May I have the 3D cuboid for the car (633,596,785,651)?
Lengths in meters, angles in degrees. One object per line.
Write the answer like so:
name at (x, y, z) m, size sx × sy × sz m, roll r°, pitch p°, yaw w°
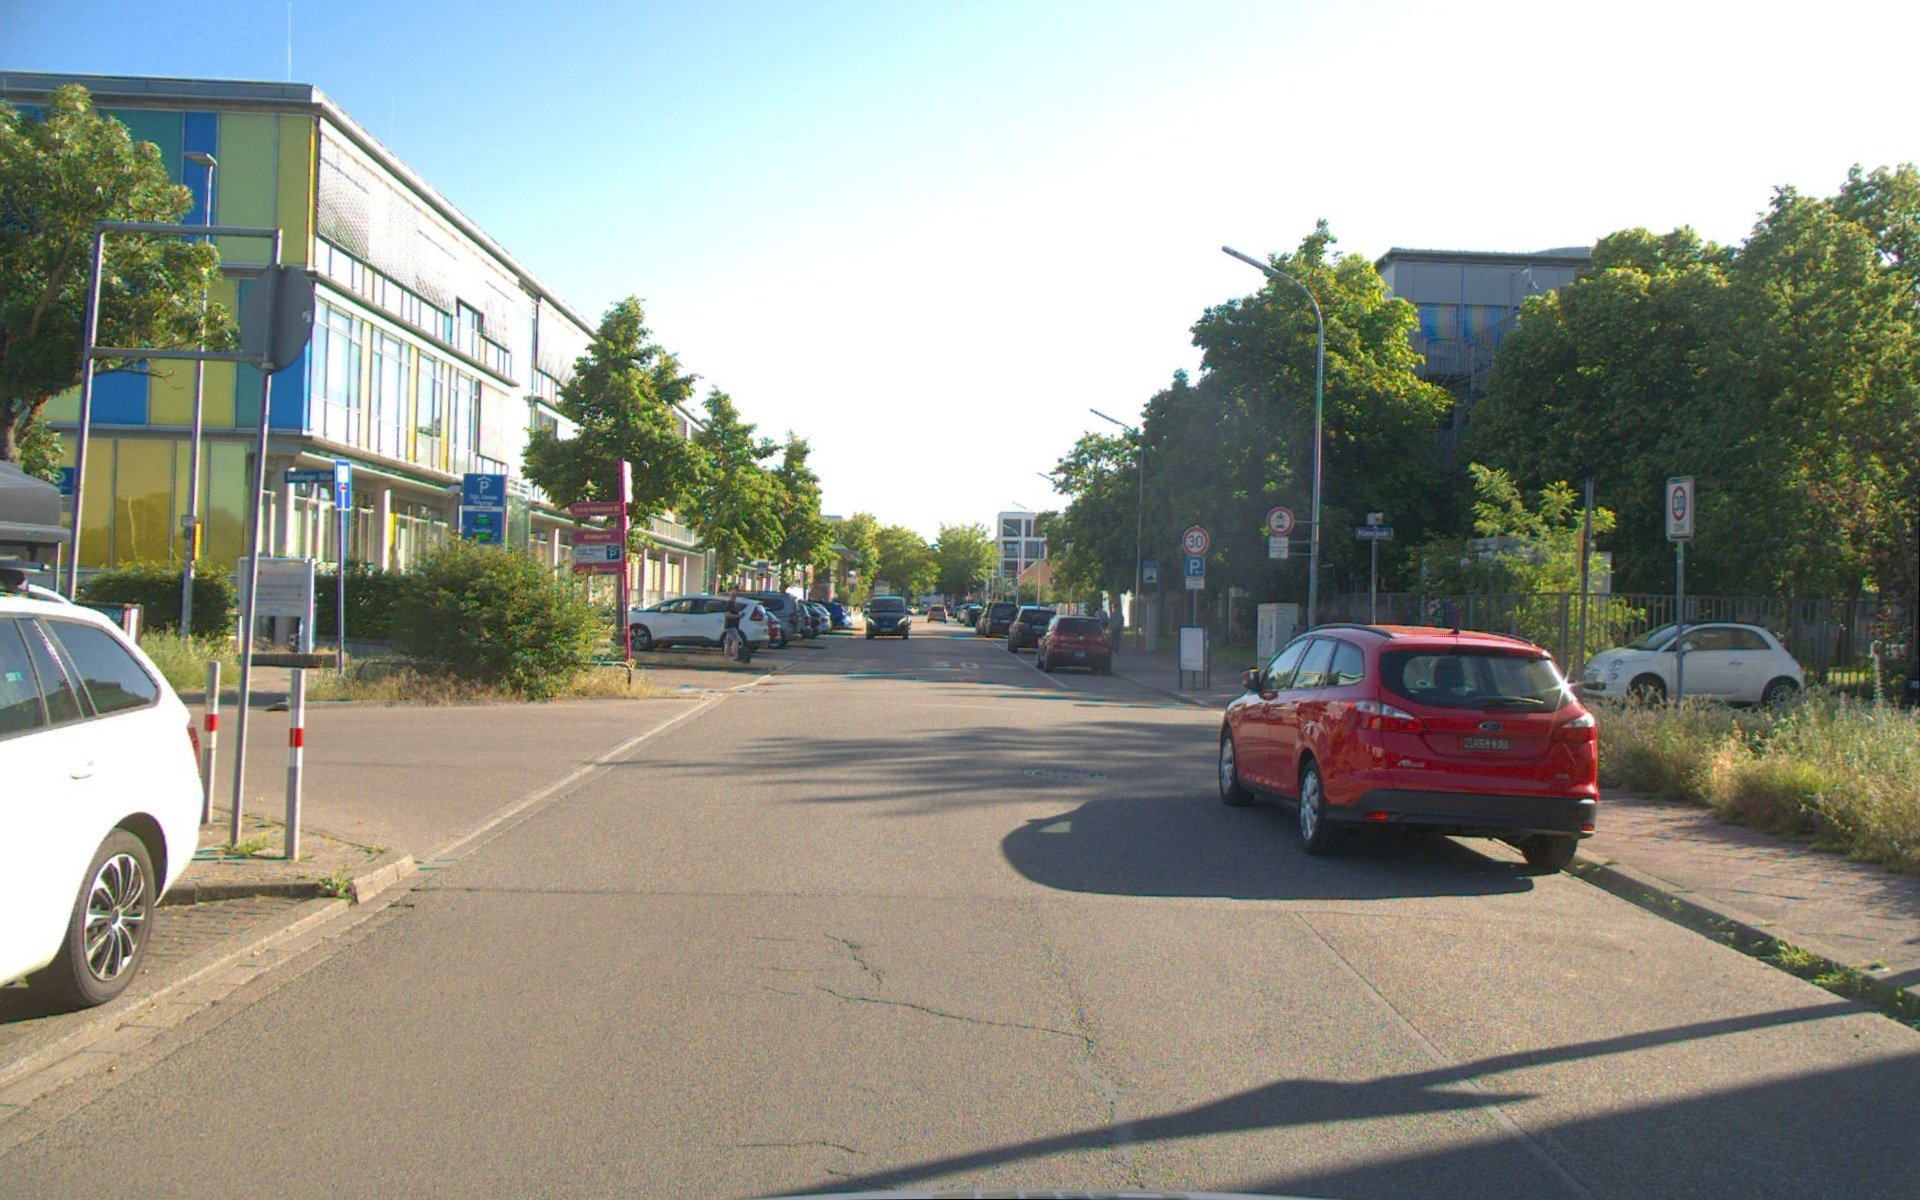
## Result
car at (-7.626, 0.727, 50.578) m, size 4.344 × 1.527 × 1.827 m, roll 2°, pitch -1°, yaw -1°

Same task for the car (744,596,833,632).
car at (-8.149, 0.672, 78.976) m, size 4.132 × 1.487 × 1.870 m, roll 3°, pitch 0°, yaw -5°

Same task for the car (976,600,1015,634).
car at (1.949, 0.921, 91.554) m, size 1.953 × 1.855 × 4.197 m, roll 0°, pitch 0°, yaw -1°

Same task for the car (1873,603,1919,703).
car at (18.034, 0.926, 28.120) m, size 4.068 × 1.665 × 1.755 m, roll 1°, pitch 0°, yaw -1°

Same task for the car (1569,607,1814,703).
car at (12.433, 0.921, 28.244) m, size 3.474 × 1.512 × 1.600 m, roll 1°, pitch 0°, yaw -1°

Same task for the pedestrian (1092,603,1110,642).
pedestrian at (6.158, 0.966, 72.274) m, size 0.684 × 1.690 × 0.751 m, roll -1°, pitch 0°, yaw -2°

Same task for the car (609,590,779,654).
car at (-7.657, 0.630, 47.908) m, size 4.516 × 1.680 × 1.868 m, roll 2°, pitch -1°, yaw 2°

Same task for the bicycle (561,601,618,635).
bicycle at (-13.633, 0.674, 60.892) m, size 0.851 × 1.174 × 2.373 m, roll 3°, pitch -1°, yaw 20°

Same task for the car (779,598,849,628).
car at (-8.264, 0.750, 93.906) m, size 3.908 × 1.579 × 1.998 m, roll 1°, pitch 0°, yaw -4°

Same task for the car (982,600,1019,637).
car at (2.085, 0.935, 85.316) m, size 1.698 × 1.862 × 3.904 m, roll 1°, pitch 0°, yaw -1°

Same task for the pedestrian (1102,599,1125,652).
pedestrian at (5.256, 0.852, 56.649) m, size 0.703 × 1.789 × 0.884 m, roll -1°, pitch 0°, yaw -1°

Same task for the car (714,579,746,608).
car at (-17.720, -0.502, 127.511) m, size 1.953 × 2.049 × 3.998 m, roll 2°, pitch -2°, yaw -1°

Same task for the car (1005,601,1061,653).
car at (2.633, 0.961, 60.367) m, size 1.775 × 1.695 × 4.592 m, roll 3°, pitch 1°, yaw 0°

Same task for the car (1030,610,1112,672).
car at (2.923, 1.054, 44.332) m, size 1.685 × 1.480 × 4.650 m, roll 3°, pitch 0°, yaw -2°

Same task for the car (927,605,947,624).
car at (-1.979, 1.239, 141.375) m, size 1.708 × 1.570 × 3.999 m, roll 2°, pitch 0°, yaw -1°

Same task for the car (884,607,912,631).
car at (-3.916, 1.164, 104.618) m, size 1.669 × 1.476 × 4.085 m, roll 0°, pitch 0°, yaw -1°

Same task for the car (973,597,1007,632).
car at (1.773, 0.844, 97.798) m, size 1.837 × 2.013 × 3.999 m, roll 0°, pitch 0°, yaw -1°

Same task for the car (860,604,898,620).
car at (-8.430, 1.273, 172.575) m, size 3.906 × 1.546 × 1.999 m, roll 2°, pitch -2°, yaw -1°

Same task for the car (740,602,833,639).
car at (-7.511, 0.880, 71.824) m, size 3.909 × 1.382 × 1.741 m, roll 3°, pitch 0°, yaw -5°

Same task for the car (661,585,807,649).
car at (-7.644, 0.563, 56.226) m, size 4.646 × 1.897 × 1.827 m, roll 3°, pitch 0°, yaw -1°

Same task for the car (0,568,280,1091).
car at (-3.648, 0.645, 4.589) m, size 1.662 × 1.540 × 4.515 m, roll 3°, pitch 0°, yaw -1°

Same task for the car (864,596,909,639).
car at (-3.352, 0.791, 75.848) m, size 1.915 × 1.900 × 5.253 m, roll 1°, pitch 0°, yaw -2°

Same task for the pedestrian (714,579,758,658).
pedestrian at (-5.486, 0.443, 40.554) m, size 0.840 × 1.874 × 0.825 m, roll 3°, pitch -1°, yaw 0°

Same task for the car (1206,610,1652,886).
car at (3.104, 0.887, 11.984) m, size 1.782 × 1.526 × 4.450 m, roll 3°, pitch 0°, yaw -2°

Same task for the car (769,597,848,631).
car at (-8.140, 0.755, 88.976) m, size 4.132 × 1.631 × 1.870 m, roll 3°, pitch 0°, yaw -5°

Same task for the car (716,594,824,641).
car at (-7.562, 0.703, 66.177) m, size 4.164 × 1.640 × 2.046 m, roll 3°, pitch 0°, yaw -5°

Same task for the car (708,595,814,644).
car at (-7.574, 0.728, 63.222) m, size 3.909 × 1.635 × 1.870 m, roll 3°, pitch 0°, yaw -5°
